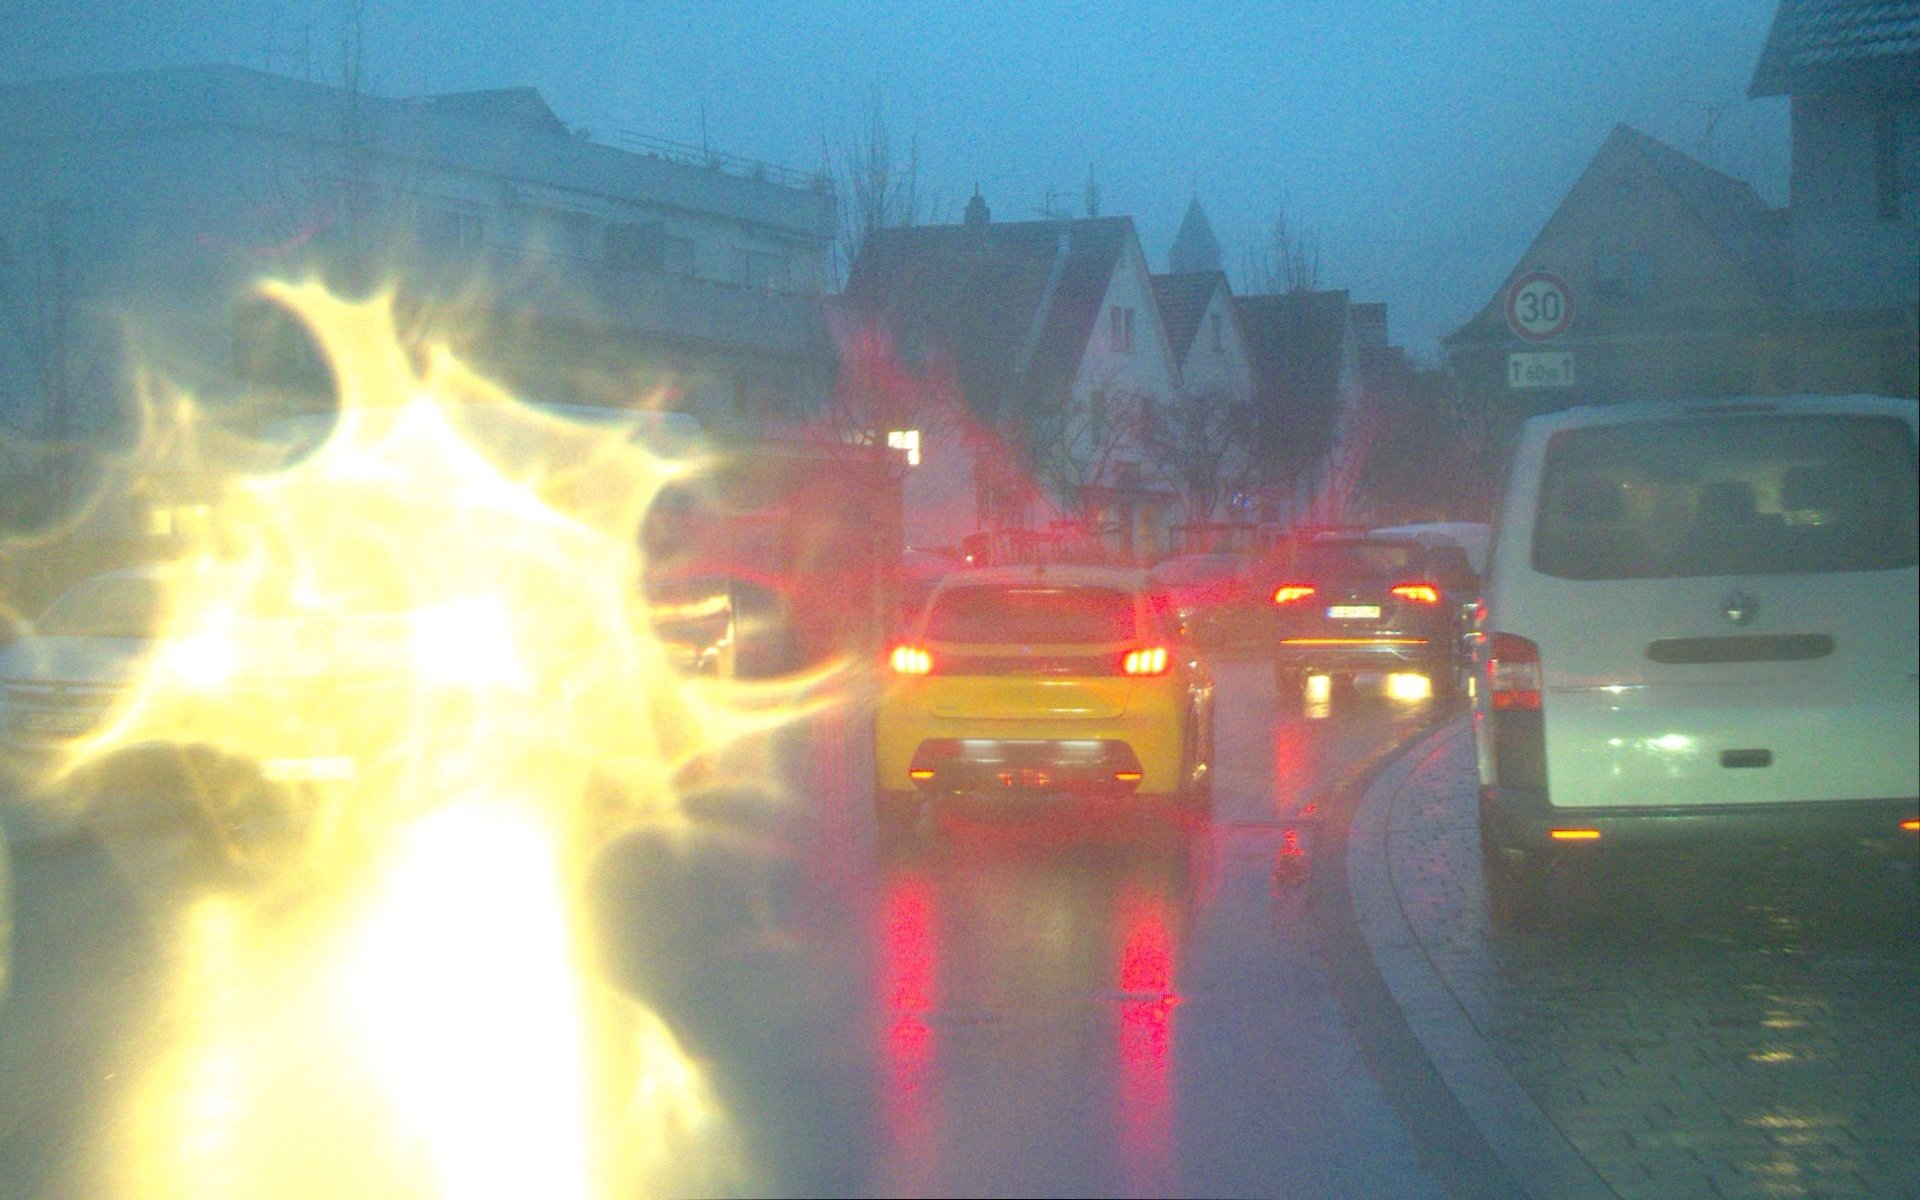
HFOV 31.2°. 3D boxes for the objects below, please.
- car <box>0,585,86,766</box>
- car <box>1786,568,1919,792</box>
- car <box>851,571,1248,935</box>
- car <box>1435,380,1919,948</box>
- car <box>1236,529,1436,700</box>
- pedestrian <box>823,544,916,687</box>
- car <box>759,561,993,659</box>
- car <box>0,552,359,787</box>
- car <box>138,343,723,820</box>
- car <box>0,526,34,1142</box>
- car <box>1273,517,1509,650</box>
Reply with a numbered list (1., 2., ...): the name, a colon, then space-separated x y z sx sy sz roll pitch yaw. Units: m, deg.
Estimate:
1. car: -9.745 0.644 30.584 3.997 1.525 1.995 0 1 44
2. car: 7.607 0.548 26.372 1.734 1.556 3.663 -2 1 2
3. car: 0.537 0.764 19.863 1.993 1.789 4.648 -1 1 2
4. car: 2.996 0.186 14.321 1.973 1.953 4.850 -1 1 8
5. car: 3.935 0.118 35.523 1.798 1.656 3.998 0 1 10
6. pedestrian: -1.193 0.196 45.438 0.755 1.860 1.059 -1 0 31
7. car: -1.404 0.175 55.892 1.734 1.472 4.088 -2 0 -36
8. car: -5.781 0.428 24.688 1.905 1.528 4.255 0 1 4
9. car: -3.006 -0.138 21.178 2.195 2.482 6.142 -1 1 4
10. car: -3.290 0.629 6.467 1.826 1.513 4.548 -1 1 0
11. car: 6.277 -0.268 49.549 1.948 1.744 4.845 -3 0 24
